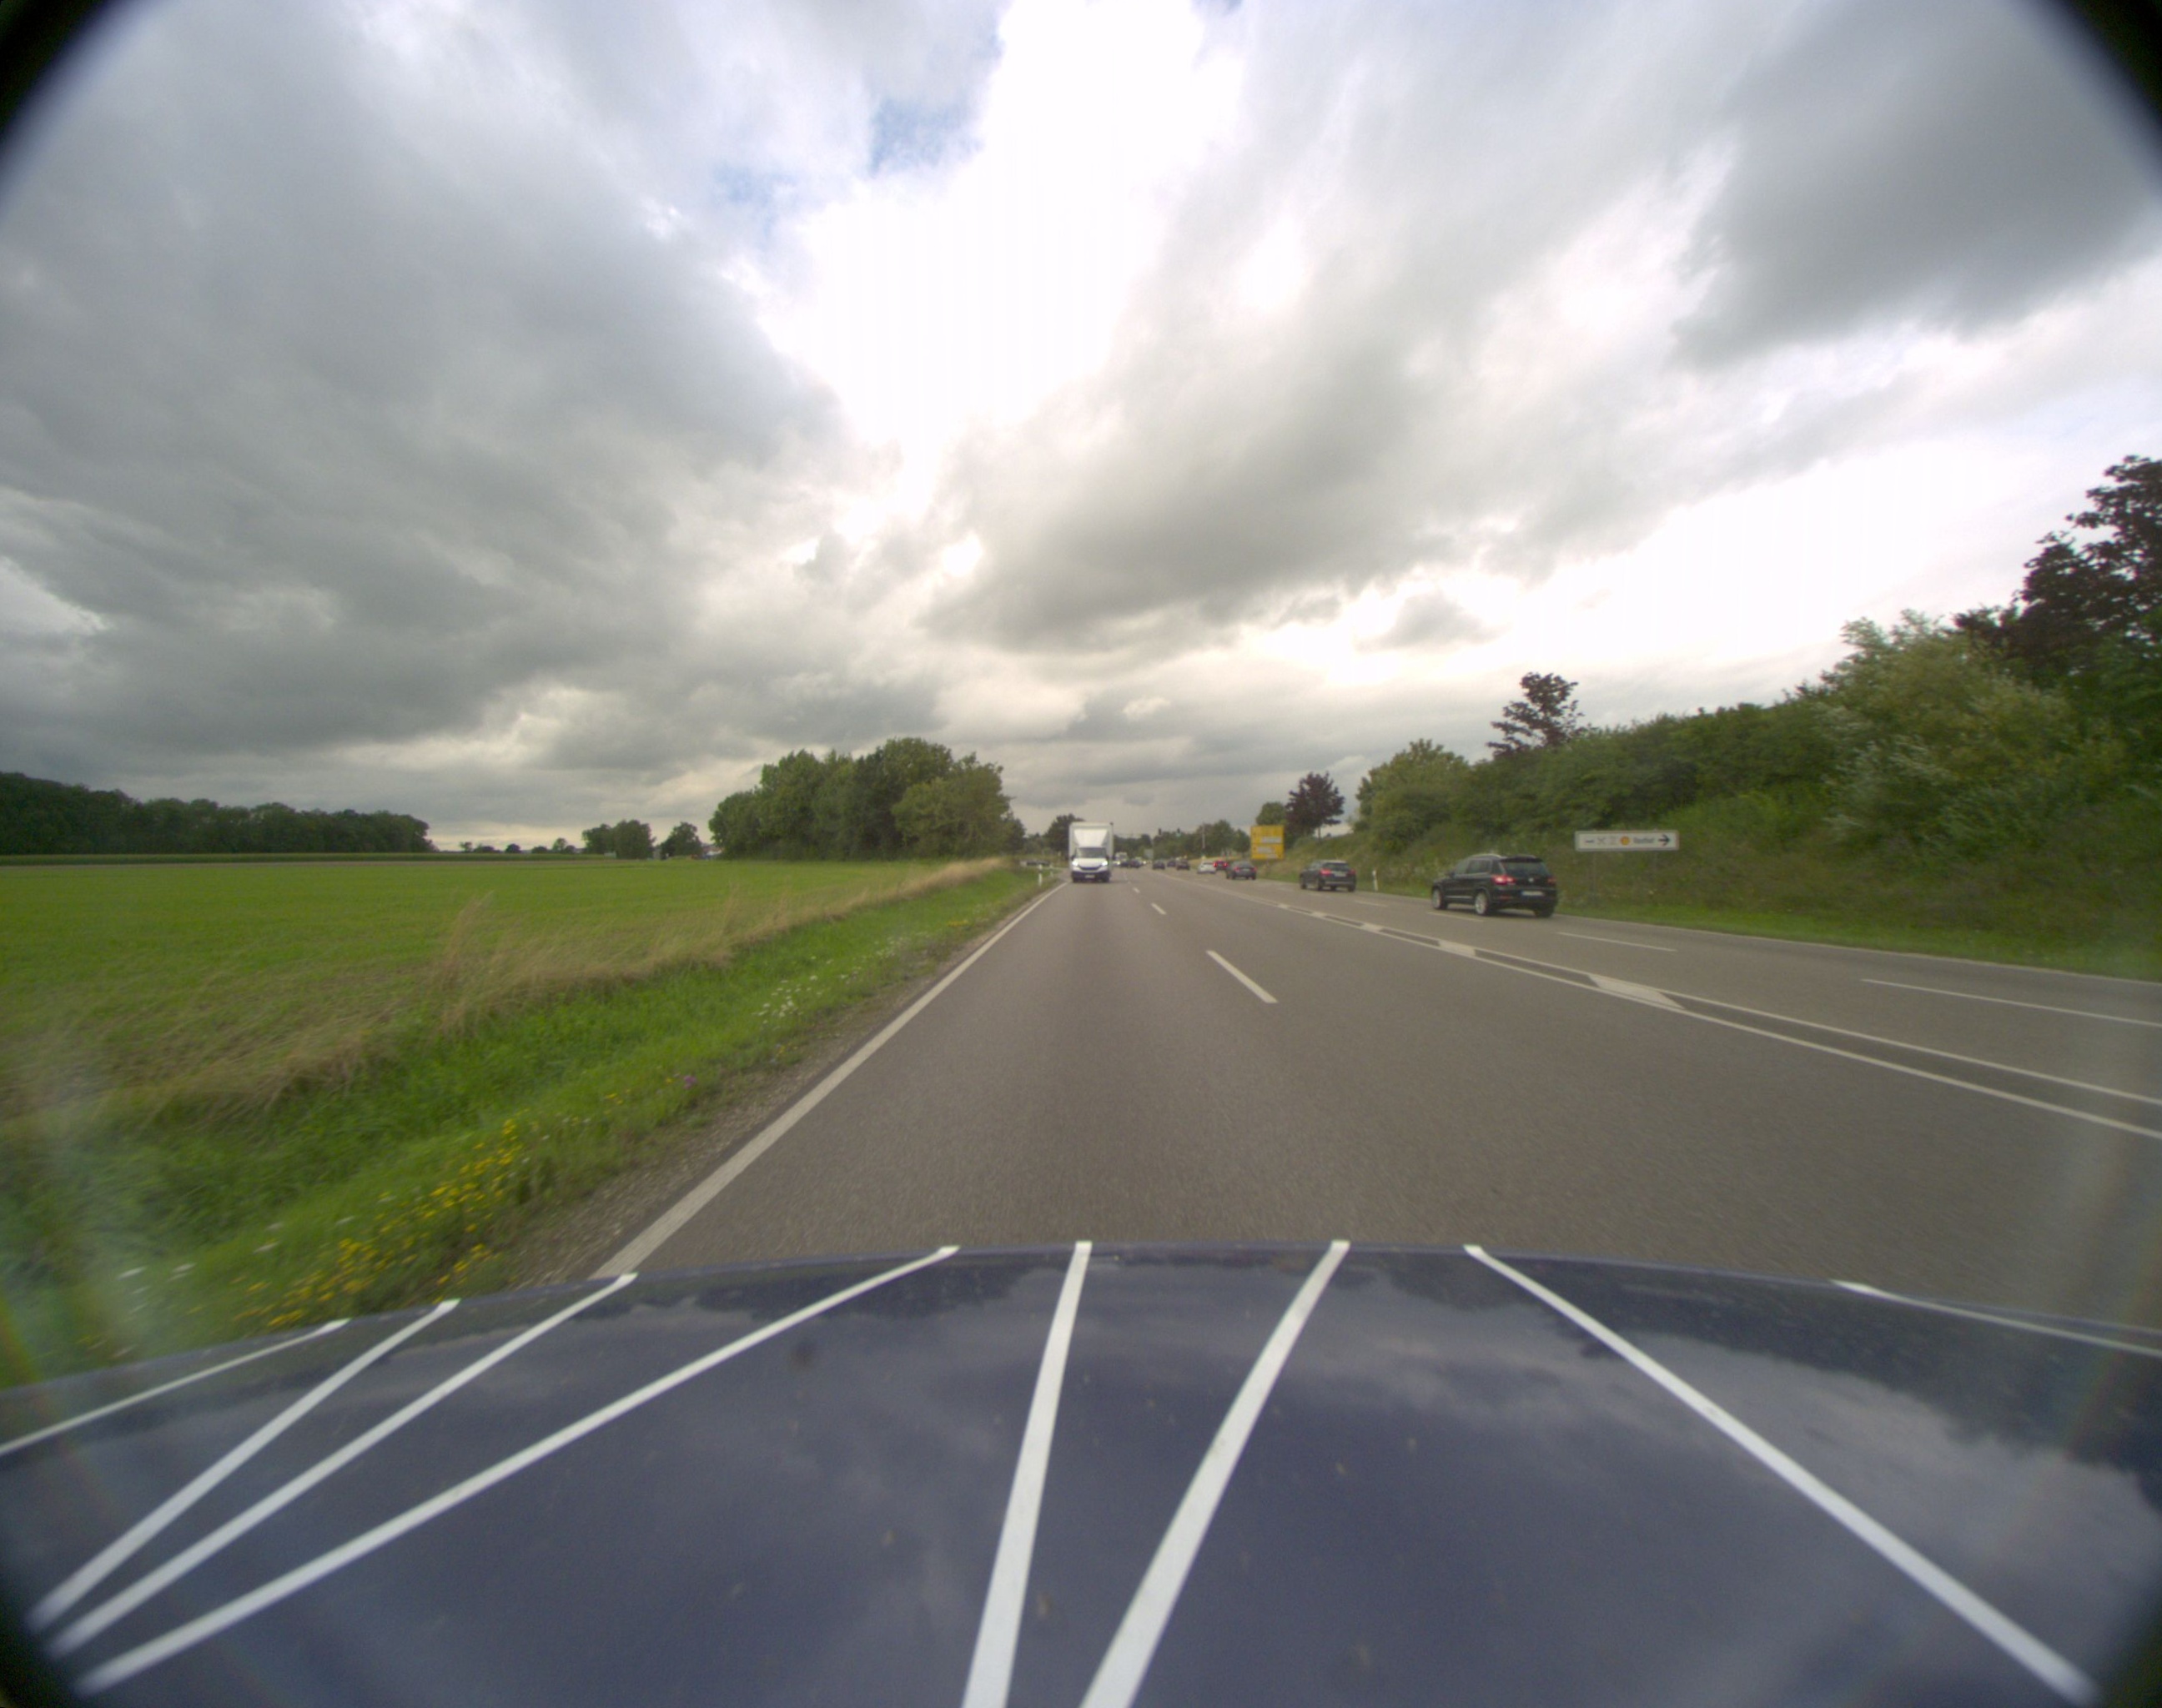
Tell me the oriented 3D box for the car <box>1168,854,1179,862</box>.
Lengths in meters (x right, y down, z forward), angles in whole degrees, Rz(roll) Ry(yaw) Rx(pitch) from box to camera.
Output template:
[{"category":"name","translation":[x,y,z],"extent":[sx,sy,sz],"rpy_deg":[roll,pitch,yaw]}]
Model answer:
[{"category":"car","translation":[19.767,0.915,162.218],"extent":[1.855,1.706,4.129],"rpy_deg":[-1,0,2]}]

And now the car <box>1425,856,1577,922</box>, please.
[{"category":"car","translation":[11.605,0.888,21.395],"extent":[1.798,1.624,4.516],"rpy_deg":[1,0,1]}]

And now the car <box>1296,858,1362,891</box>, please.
[{"category":"car","translation":[12.287,0.959,37.891],"extent":[1.798,1.502,4.706],"rpy_deg":[1,0,1]}]

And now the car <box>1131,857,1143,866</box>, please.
[{"category":"car","translation":[9.453,1.220,128.414],"extent":[1.860,1.440,4.001],"rpy_deg":[1,0,4]}]

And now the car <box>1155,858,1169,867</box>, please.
[{"category":"car","translation":[12.532,1.288,117.731],"extent":[1.860,1.399,4.186],"rpy_deg":[1,0,4]}]

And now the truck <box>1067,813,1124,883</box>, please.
[{"category":"truck","translation":[0.717,-0.306,44.633],"extent":[2.935,3.652,8.442],"rpy_deg":[-1,0,-1]}]

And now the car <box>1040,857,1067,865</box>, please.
[{"category":"car","translation":[-4.649,1.185,129.995],"extent":[4.344,1.214,1.866],"rpy_deg":[0,0,6]}]

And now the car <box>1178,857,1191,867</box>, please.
[{"category":"car","translation":[15.889,1.236,116.631],"extent":[1.727,1.472,4.660],"rpy_deg":[1,0,4]}]

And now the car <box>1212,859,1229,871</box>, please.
[{"category":"car","translation":[19.232,1.467,105.019],"extent":[1.860,1.586,4.399],"rpy_deg":[1,0,4]}]

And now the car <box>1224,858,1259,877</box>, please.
[{"category":"car","translation":[12.701,1.042,60.334],"extent":[1.798,1.397,4.706],"rpy_deg":[2,0,1]}]

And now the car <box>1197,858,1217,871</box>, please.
[{"category":"car","translation":[14.200,1.204,85.672],"extent":[1.612,1.406,4.056],"rpy_deg":[0,0,1]}]
